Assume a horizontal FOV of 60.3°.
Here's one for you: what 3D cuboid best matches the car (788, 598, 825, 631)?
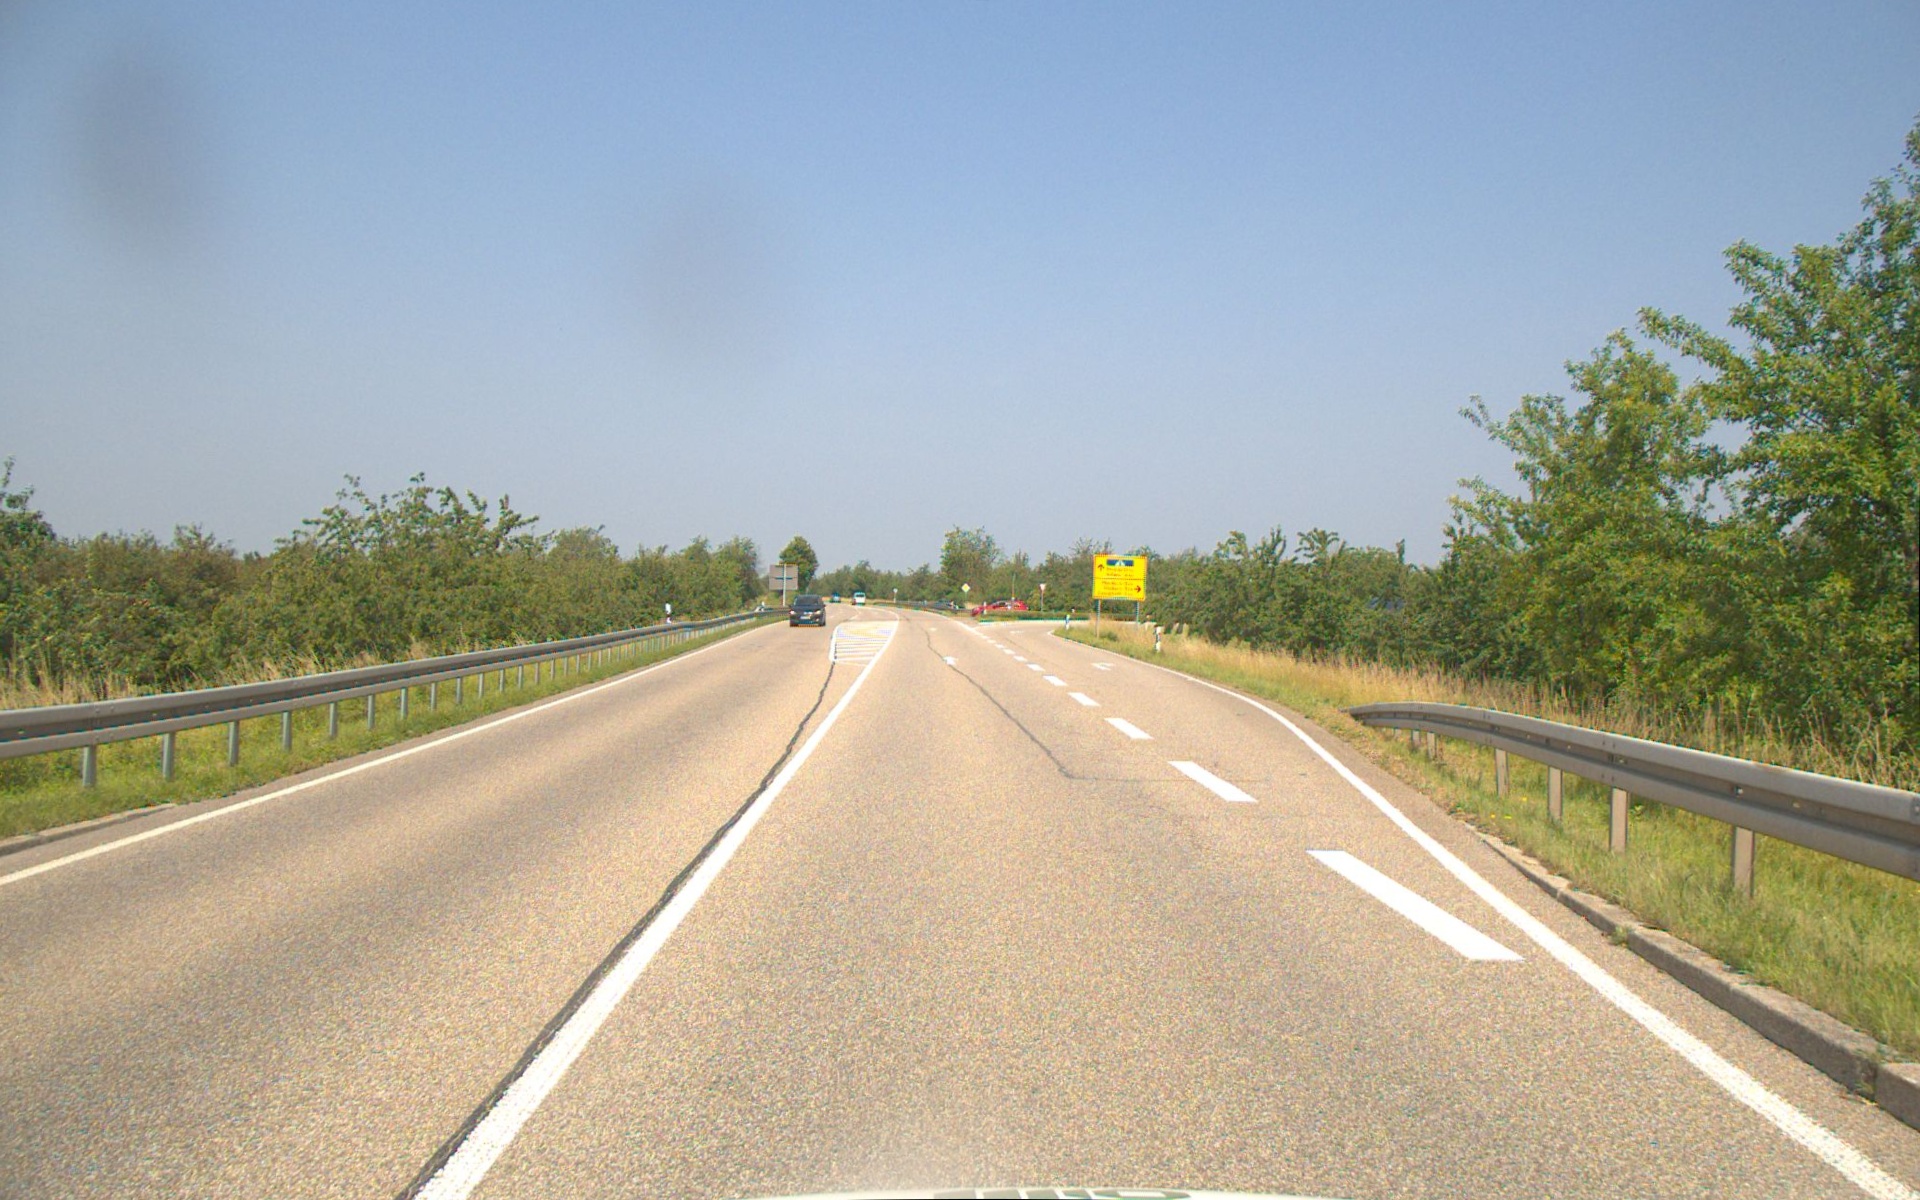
[{"bbox_3d":[-8.153,0.772,88.275,1.767,1.666,4.806,1,-1,-3],"label":"car"}]

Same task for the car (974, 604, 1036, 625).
[{"bbox_3d":[3.243,1.074,120.850,4.391,1.474,1.820,1,-1,-4],"label":"car"}]
